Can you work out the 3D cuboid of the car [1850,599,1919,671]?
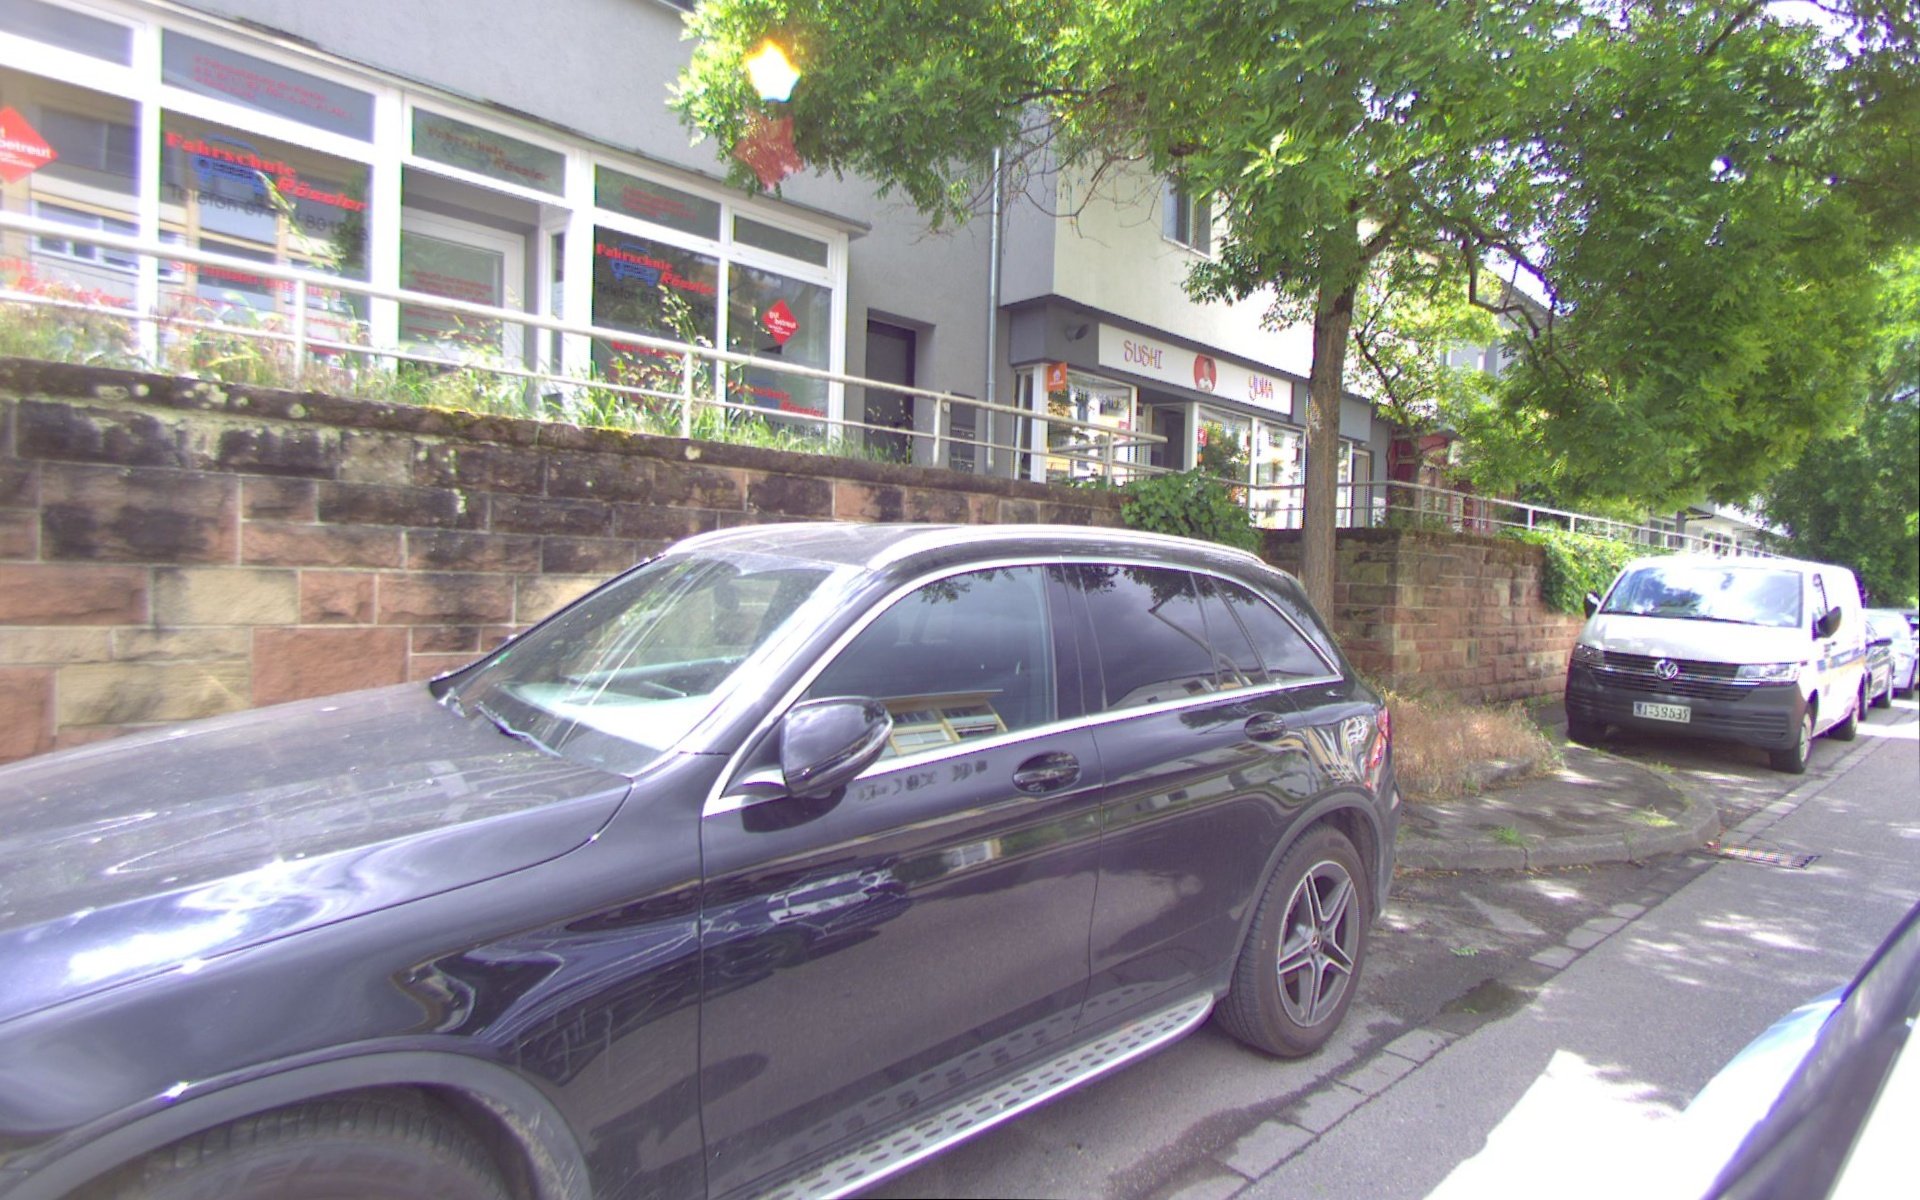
[{"bbox_3d":[21.279,0.740,22.425,4.075,1.446,1.783,0,2,-41],"label":"car"}]

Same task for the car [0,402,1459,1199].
[{"bbox_3d":[-0.445,0.546,2.906,4.371,1.637,1.793,0,3,-42],"label":"car"}]

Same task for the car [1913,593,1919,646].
[{"bbox_3d":[32.312,0.653,32.809,4.078,1.674,1.816,0,2,-44],"label":"car"}]

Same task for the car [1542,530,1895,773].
[{"bbox_3d":[8.154,0.402,10.681,4.925,1.994,1.977,0,1,-41],"label":"car"}]

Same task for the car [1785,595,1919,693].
[{"bbox_3d":[16.220,0.698,18.042,4.076,1.445,1.783,0,4,-44],"label":"car"}]

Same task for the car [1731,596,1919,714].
[{"bbox_3d":[12.527,0.701,14.539,3.669,1.446,1.577,0,1,-41],"label":"car"}]
